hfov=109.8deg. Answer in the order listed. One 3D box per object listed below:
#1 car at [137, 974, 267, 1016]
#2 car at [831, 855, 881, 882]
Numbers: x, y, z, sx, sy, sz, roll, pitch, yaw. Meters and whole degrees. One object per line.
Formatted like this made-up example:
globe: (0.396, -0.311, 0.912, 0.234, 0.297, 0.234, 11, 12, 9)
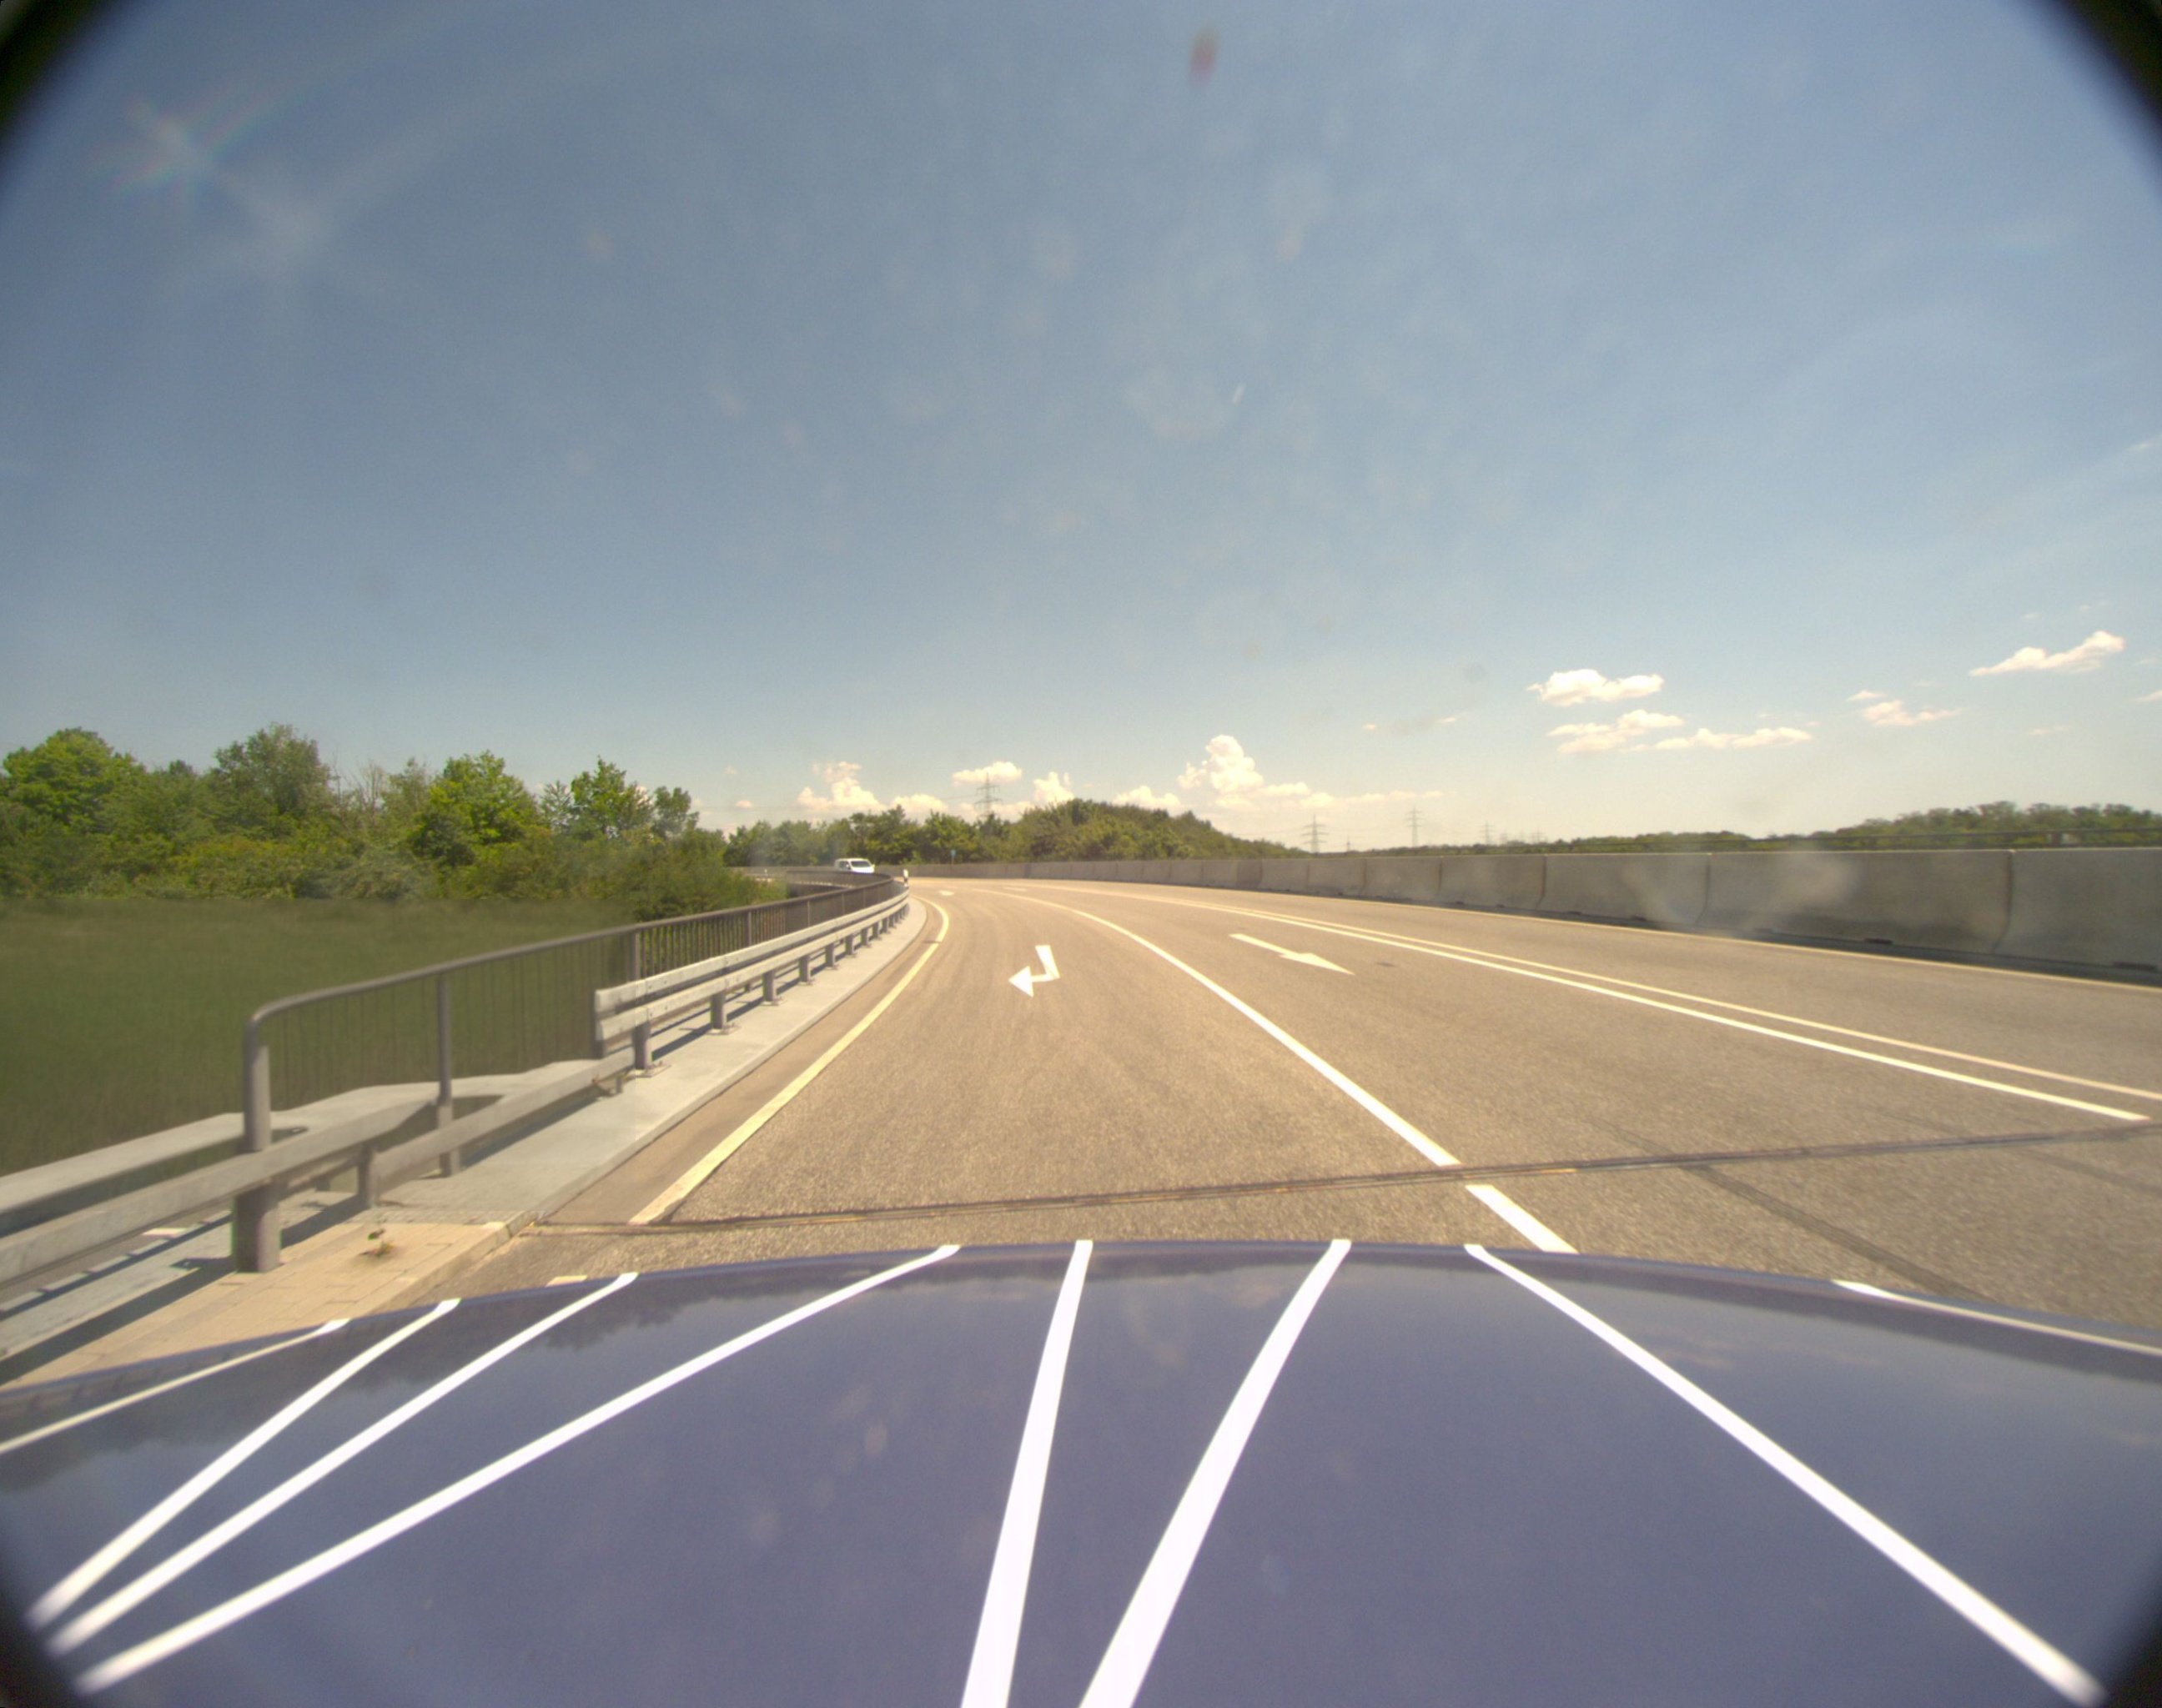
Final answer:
car: (-43.832, 7.043, 37.985, 3.998, 1.607, 1.999, -1, 1, -3)
car: (-18.232, 1.130, 61.393, 2.035, 2.072, 5.857, -2, 1, -35)
